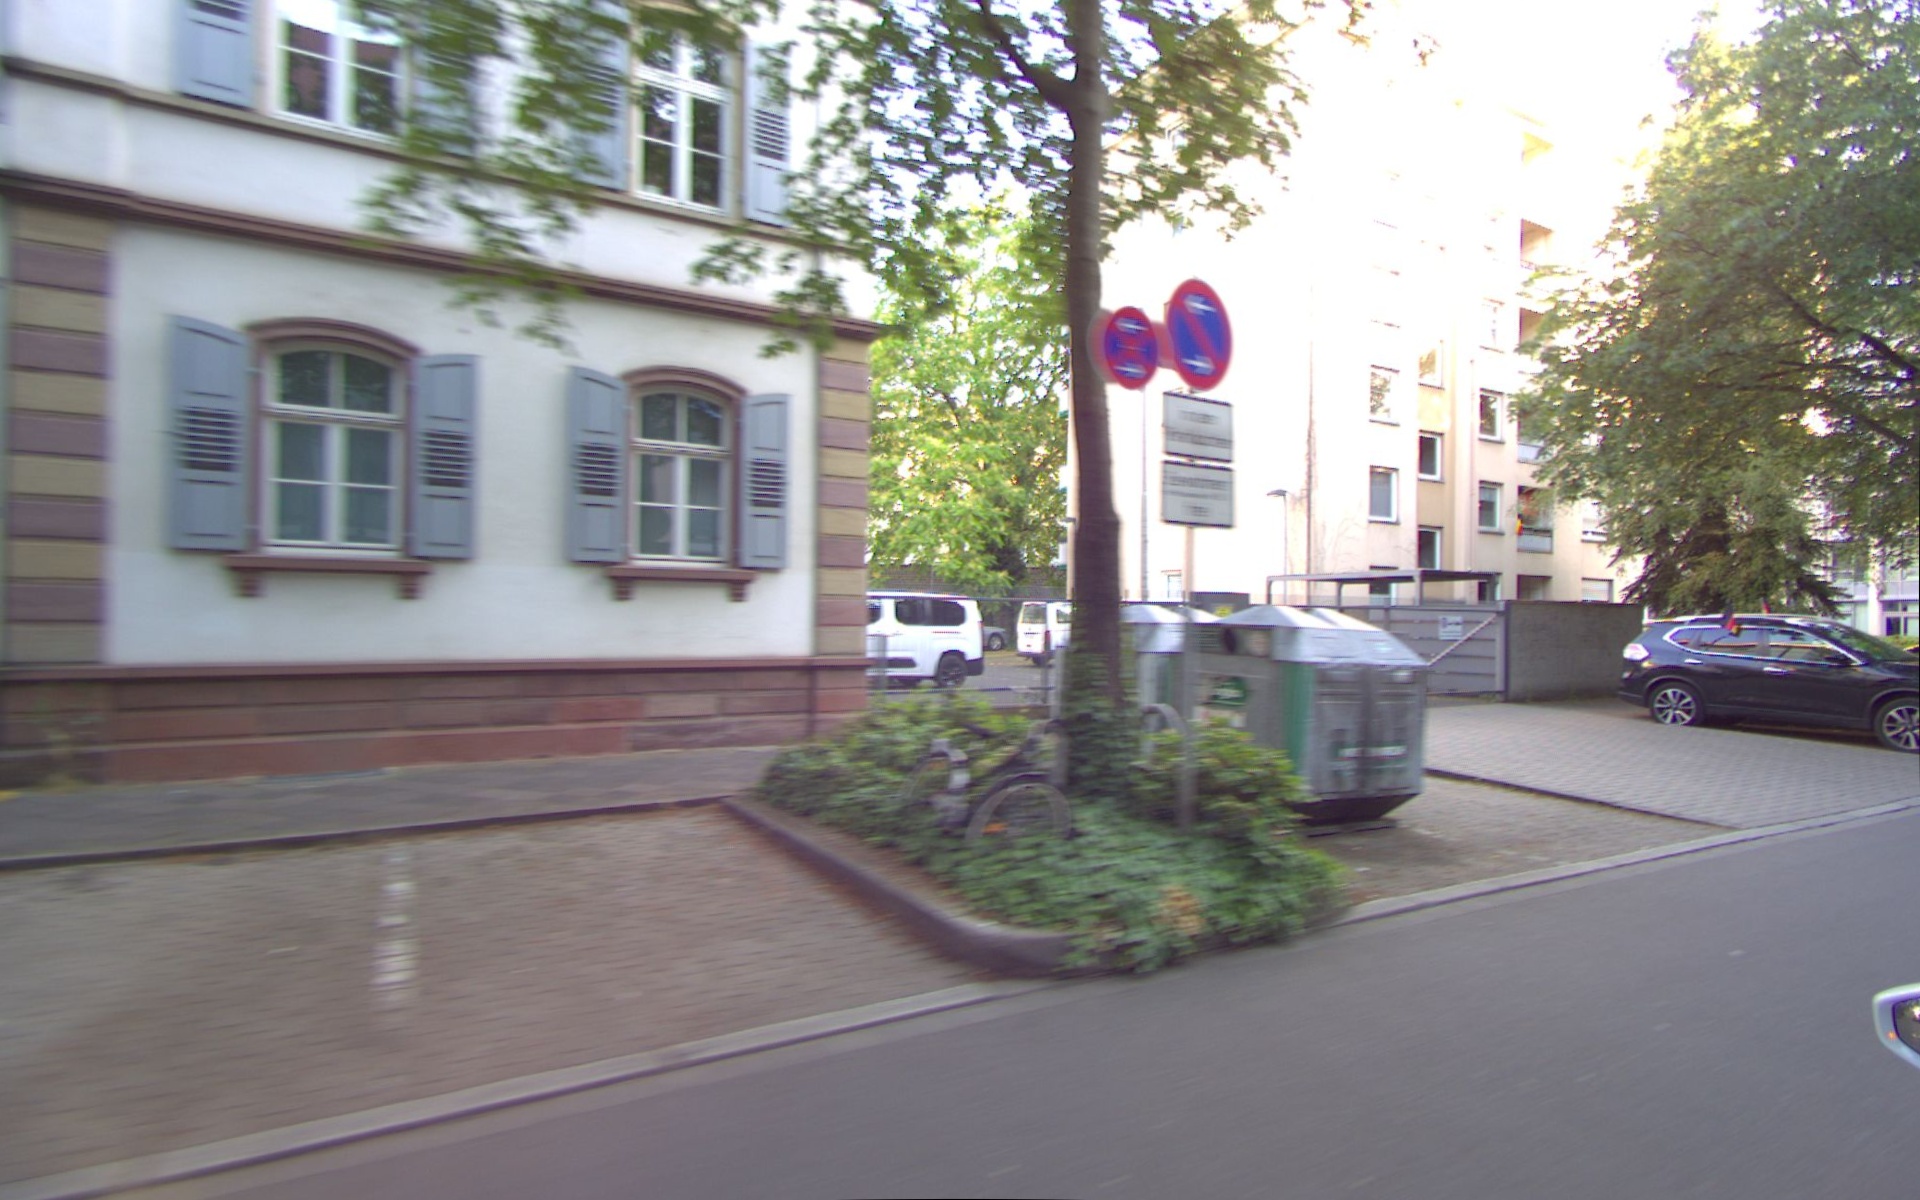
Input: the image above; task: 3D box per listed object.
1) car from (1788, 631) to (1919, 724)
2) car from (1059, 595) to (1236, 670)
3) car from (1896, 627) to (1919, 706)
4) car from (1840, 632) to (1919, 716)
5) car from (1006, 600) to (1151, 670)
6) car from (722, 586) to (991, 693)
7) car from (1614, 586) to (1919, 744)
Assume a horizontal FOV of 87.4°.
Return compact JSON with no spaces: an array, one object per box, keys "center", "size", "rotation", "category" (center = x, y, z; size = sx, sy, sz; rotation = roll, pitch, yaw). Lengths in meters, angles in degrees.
[{"center":[16.692,1.304,16.837],"size":[1.900,1.483,3.967],"rotation":[1,-1,-31],"category":"car"},{"center":[5.264,0.892,28.066],"size":[4.644,1.948,2.043],"rotation":[1,-1,-28],"category":"car"},{"center":[21.008,1.349,19.335],"size":[1.903,1.586,3.976],"rotation":[1,-1,-24],"category":"car"},{"center":[18.694,1.361,18.077],"size":[1.805,1.510,3.965],"rotation":[1,-1,-32],"category":"car"},{"center":[3.564,1.018,30.146],"size":[3.952,1.973,1.985],"rotation":[1,-1,-29],"category":"car"},{"center":[-1.874,0.705,18.813],"size":[4.630,1.781,1.985],"rotation":[1,-1,-34],"category":"car"},{"center":[12.210,0.847,14.293],"size":[1.977,1.981,4.482],"rotation":[1,-1,-31],"category":"car"}]
